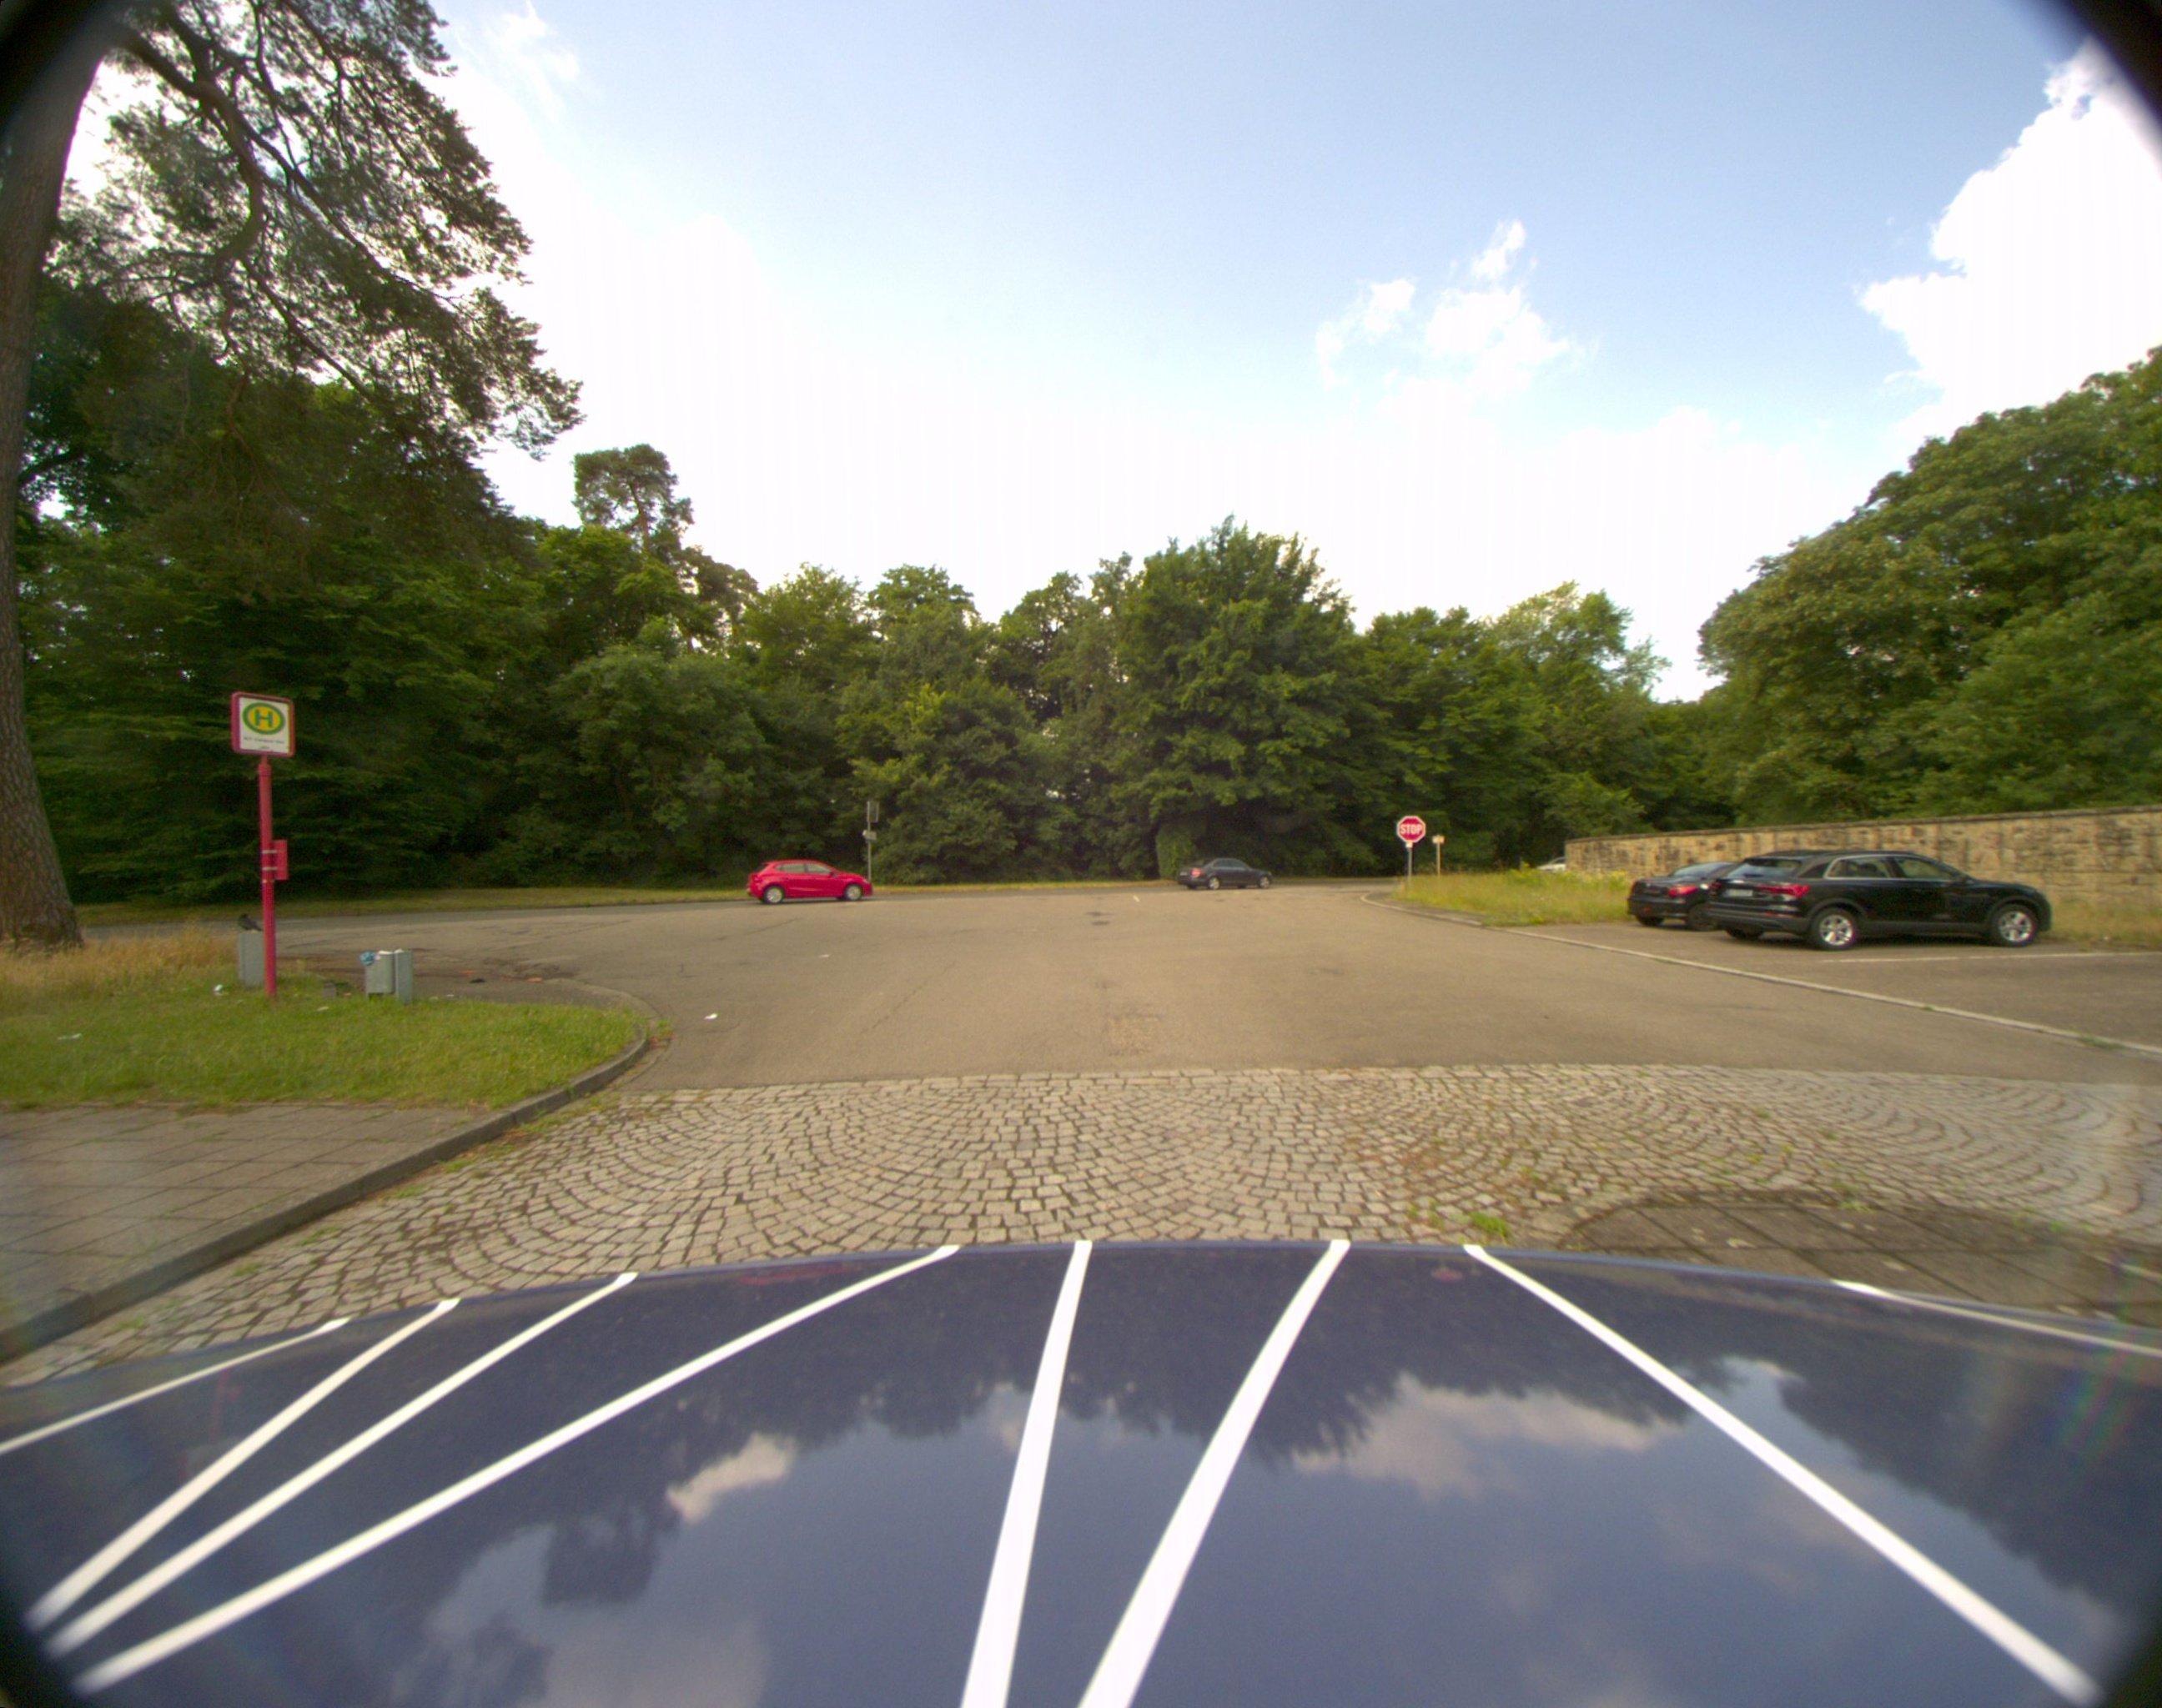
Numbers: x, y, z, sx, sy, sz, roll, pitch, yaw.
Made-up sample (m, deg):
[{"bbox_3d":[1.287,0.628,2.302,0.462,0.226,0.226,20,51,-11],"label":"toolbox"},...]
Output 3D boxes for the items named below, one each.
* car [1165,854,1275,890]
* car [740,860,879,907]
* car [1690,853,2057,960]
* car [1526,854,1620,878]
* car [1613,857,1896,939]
[{"bbox_3d":[6.227,0.774,34.022,4.535,1.455,1.963,-1,0,-26],"label":"car"},{"bbox_3d":[-9.301,0.951,26.060,4.210,1.455,1.995,0,0,-30],"label":"car"},{"bbox_3d":[12.983,0.820,12.700,3.996,1.537,1.900,-2,0,3],"label":"car"},{"bbox_3d":[30.780,0.730,47.502,5.417,1.370,1.997,-1,0,-19],"label":"car"},{"bbox_3d":[13.566,0.855,15.531,3.996,1.433,1.880,-2,0,4],"label":"car"}]
